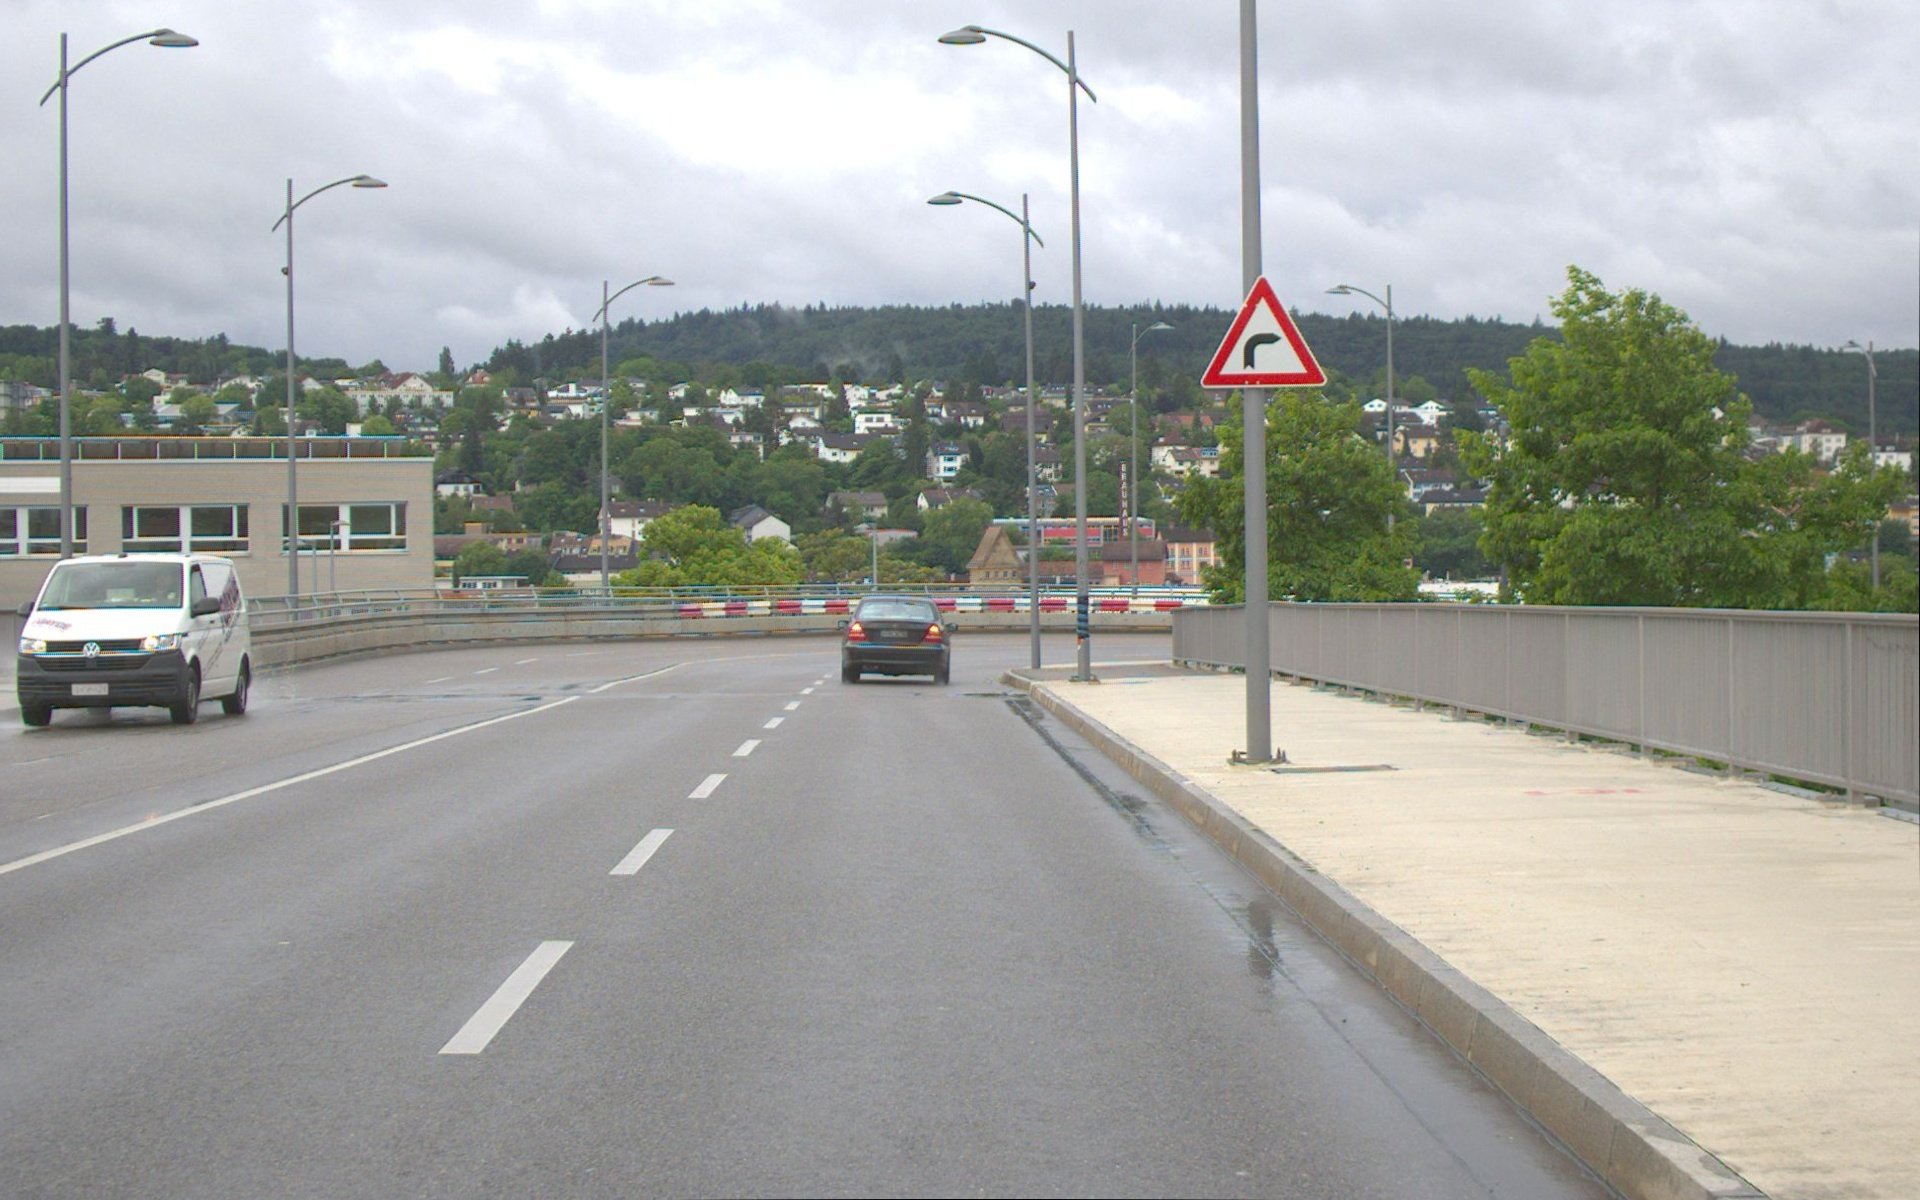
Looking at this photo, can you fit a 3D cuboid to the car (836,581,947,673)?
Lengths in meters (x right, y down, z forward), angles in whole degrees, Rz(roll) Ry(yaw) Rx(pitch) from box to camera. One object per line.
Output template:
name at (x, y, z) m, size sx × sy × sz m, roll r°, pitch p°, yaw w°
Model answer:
car at (-1.079, 0.406, 55.105) m, size 1.706 × 1.415 × 3.726 m, roll 1°, pitch 0°, yaw -1°

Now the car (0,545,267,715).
car at (-9.414, 0.328, 39.547) m, size 1.886 × 1.816 × 4.958 m, roll 1°, pitch 0°, yaw 0°
